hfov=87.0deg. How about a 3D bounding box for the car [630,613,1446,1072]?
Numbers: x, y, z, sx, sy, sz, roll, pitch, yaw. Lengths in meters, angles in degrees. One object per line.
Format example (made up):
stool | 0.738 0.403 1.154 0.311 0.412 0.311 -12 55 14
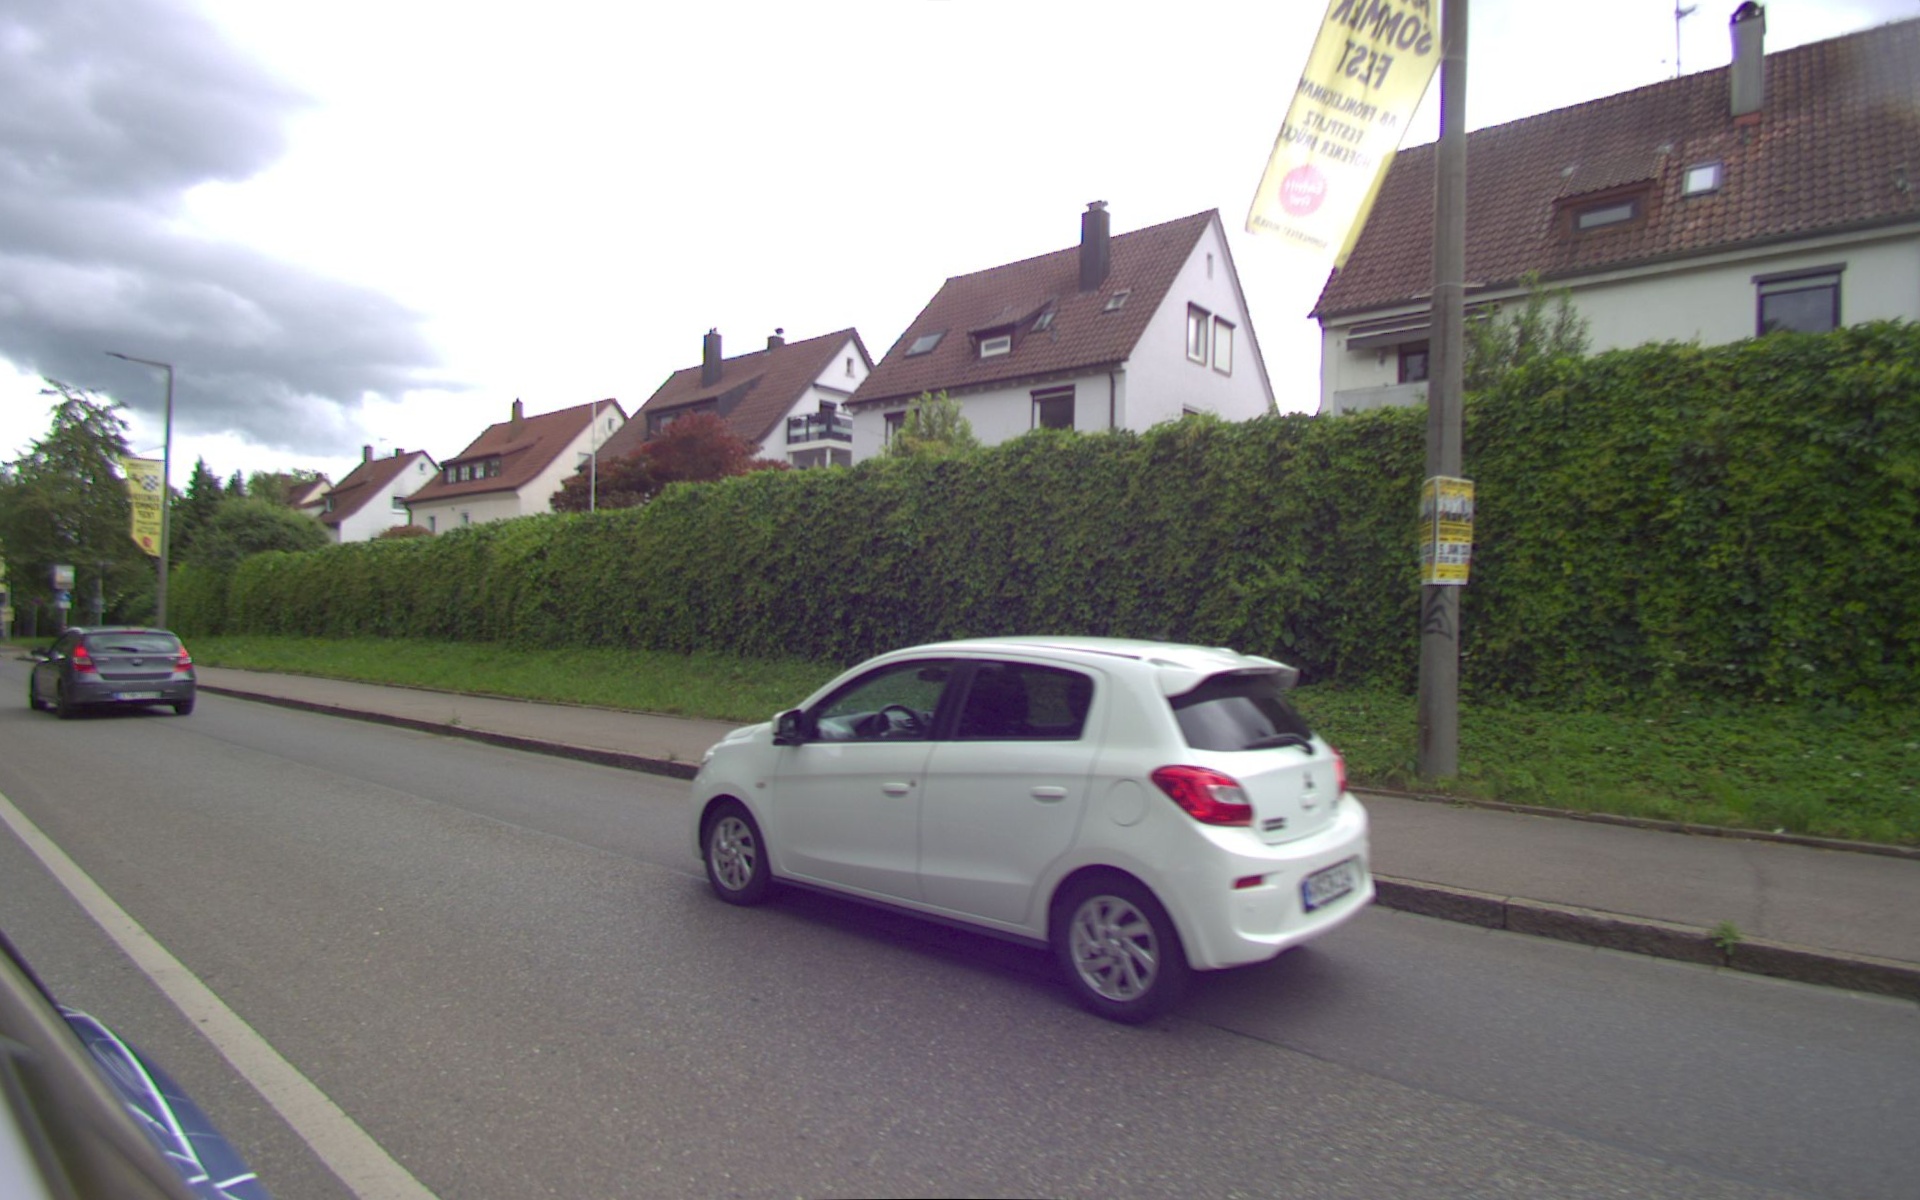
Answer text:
car | 0.117 0.872 5.251 4.071 1.472 1.601 -1 -5 42

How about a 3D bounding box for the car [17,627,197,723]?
car | -14.786 1.223 17.471 4.151 1.475 1.710 -2 -4 41
